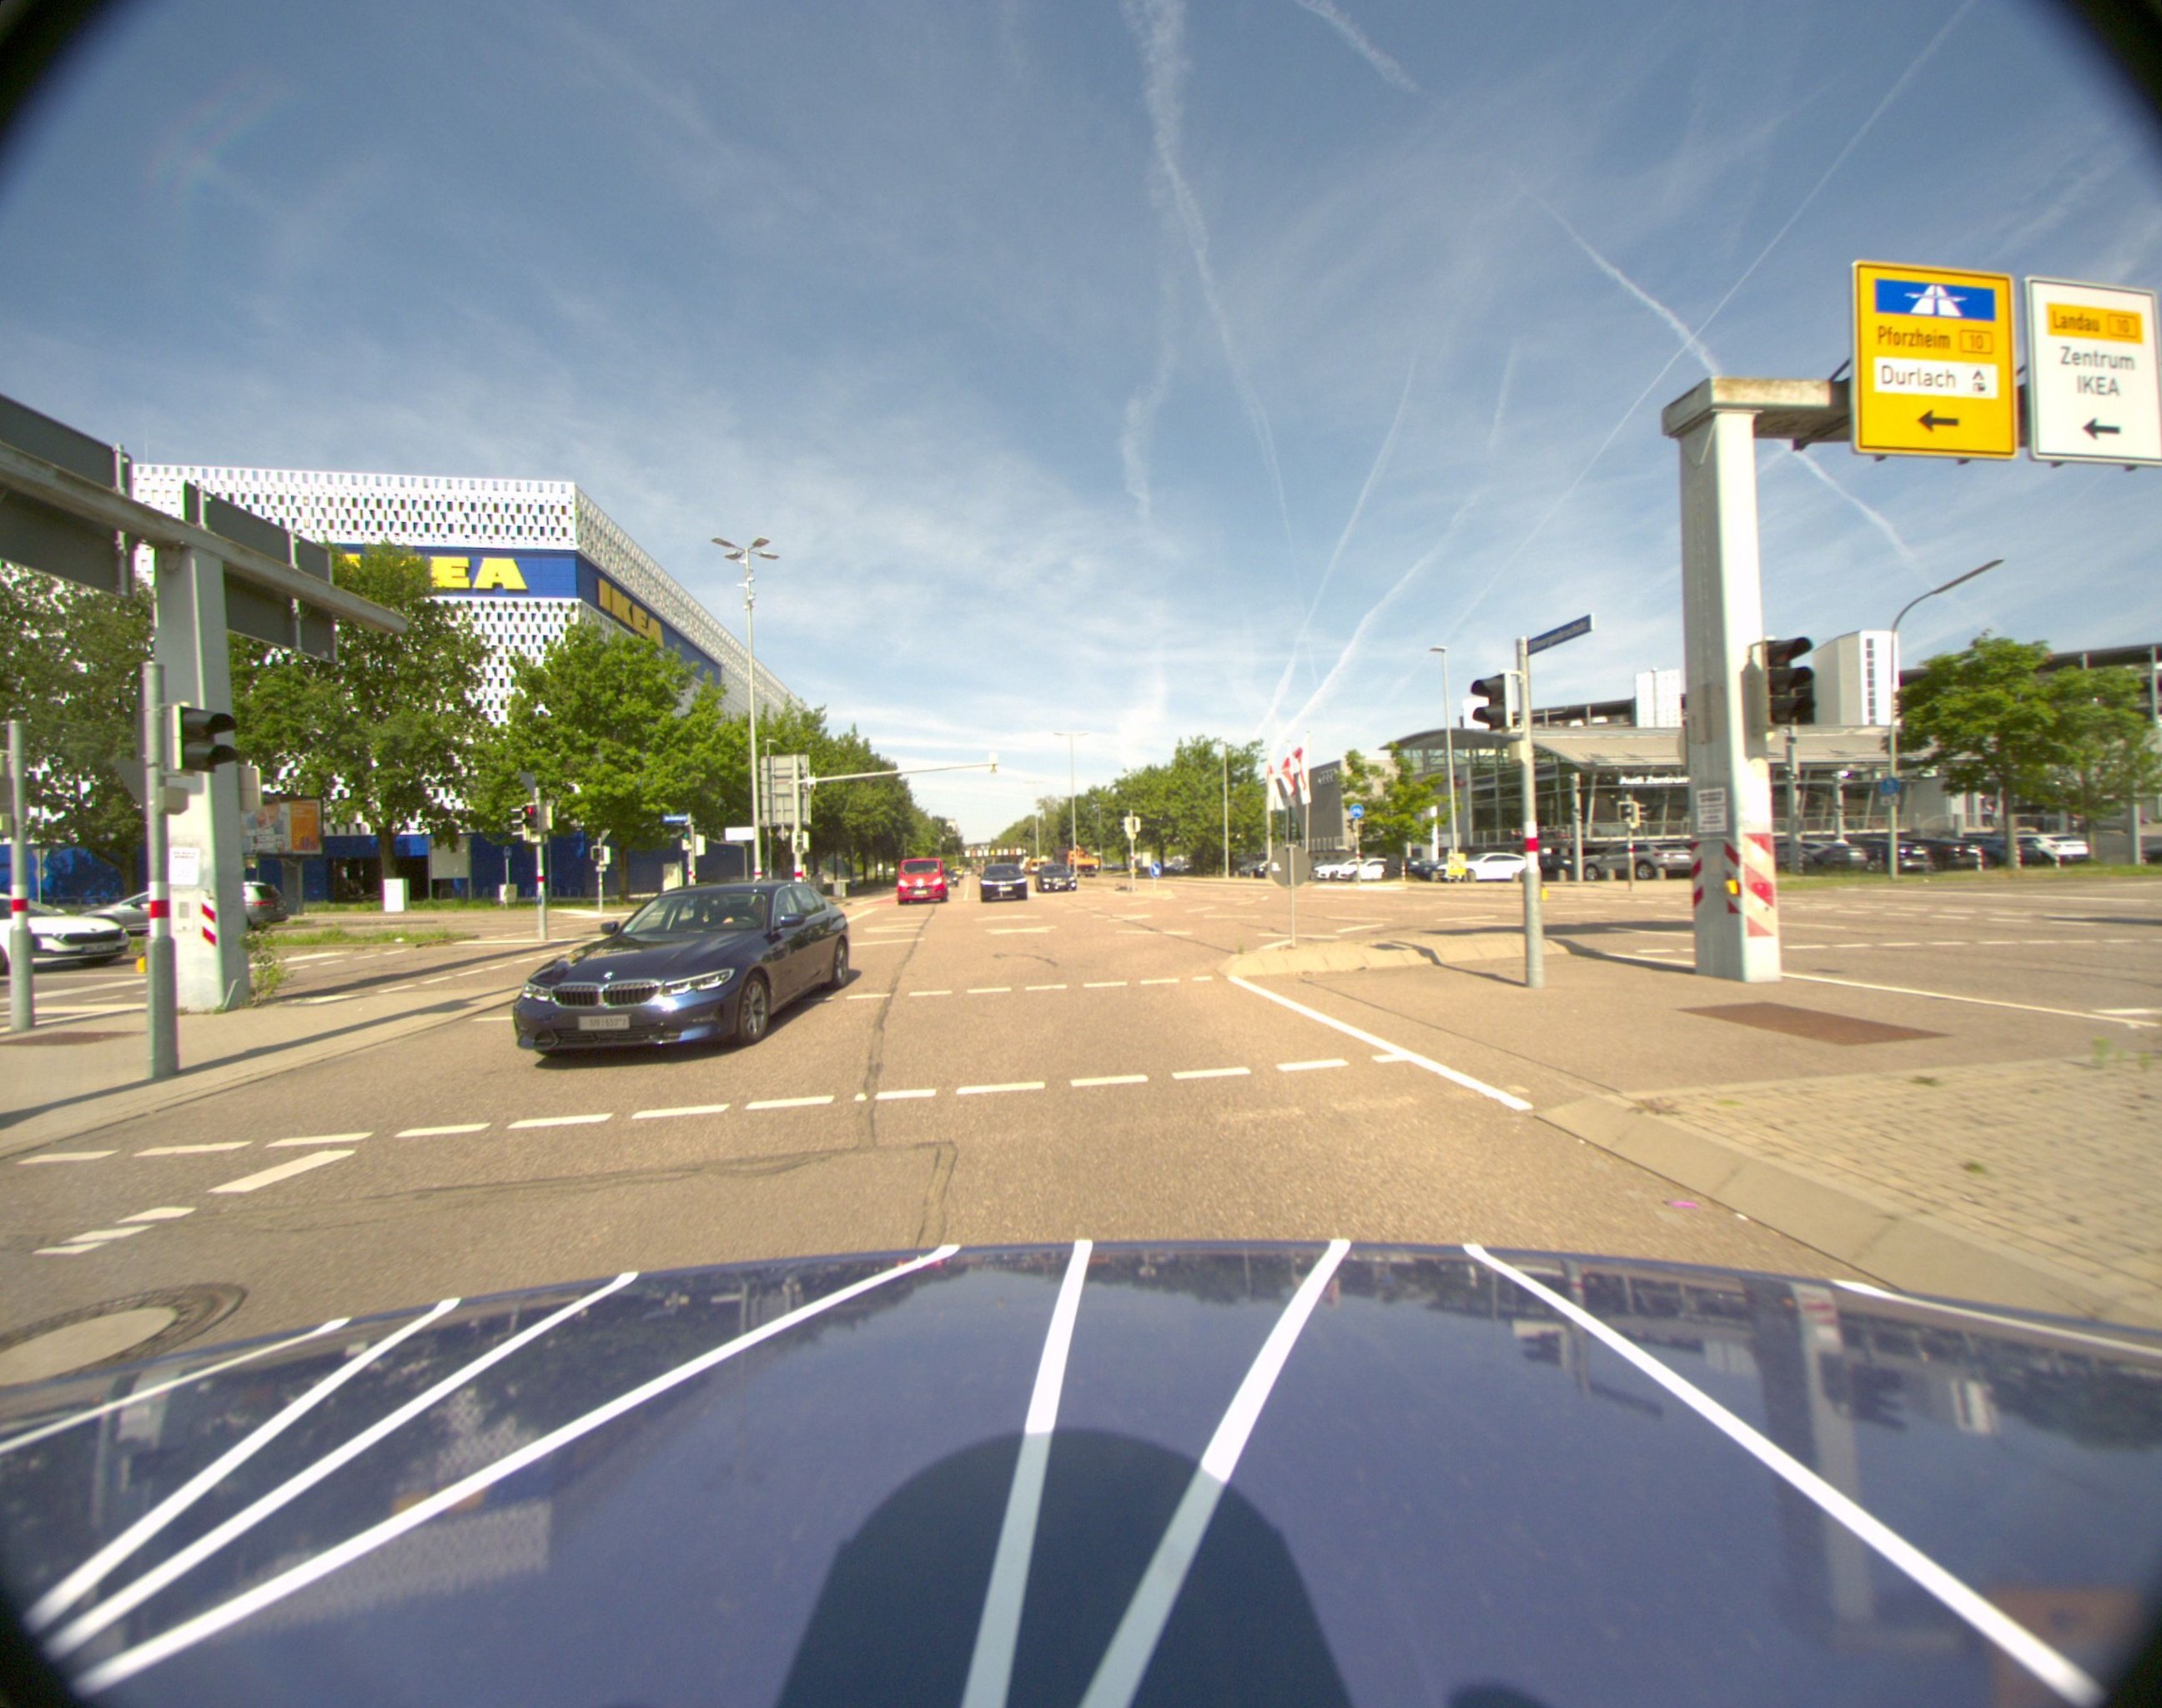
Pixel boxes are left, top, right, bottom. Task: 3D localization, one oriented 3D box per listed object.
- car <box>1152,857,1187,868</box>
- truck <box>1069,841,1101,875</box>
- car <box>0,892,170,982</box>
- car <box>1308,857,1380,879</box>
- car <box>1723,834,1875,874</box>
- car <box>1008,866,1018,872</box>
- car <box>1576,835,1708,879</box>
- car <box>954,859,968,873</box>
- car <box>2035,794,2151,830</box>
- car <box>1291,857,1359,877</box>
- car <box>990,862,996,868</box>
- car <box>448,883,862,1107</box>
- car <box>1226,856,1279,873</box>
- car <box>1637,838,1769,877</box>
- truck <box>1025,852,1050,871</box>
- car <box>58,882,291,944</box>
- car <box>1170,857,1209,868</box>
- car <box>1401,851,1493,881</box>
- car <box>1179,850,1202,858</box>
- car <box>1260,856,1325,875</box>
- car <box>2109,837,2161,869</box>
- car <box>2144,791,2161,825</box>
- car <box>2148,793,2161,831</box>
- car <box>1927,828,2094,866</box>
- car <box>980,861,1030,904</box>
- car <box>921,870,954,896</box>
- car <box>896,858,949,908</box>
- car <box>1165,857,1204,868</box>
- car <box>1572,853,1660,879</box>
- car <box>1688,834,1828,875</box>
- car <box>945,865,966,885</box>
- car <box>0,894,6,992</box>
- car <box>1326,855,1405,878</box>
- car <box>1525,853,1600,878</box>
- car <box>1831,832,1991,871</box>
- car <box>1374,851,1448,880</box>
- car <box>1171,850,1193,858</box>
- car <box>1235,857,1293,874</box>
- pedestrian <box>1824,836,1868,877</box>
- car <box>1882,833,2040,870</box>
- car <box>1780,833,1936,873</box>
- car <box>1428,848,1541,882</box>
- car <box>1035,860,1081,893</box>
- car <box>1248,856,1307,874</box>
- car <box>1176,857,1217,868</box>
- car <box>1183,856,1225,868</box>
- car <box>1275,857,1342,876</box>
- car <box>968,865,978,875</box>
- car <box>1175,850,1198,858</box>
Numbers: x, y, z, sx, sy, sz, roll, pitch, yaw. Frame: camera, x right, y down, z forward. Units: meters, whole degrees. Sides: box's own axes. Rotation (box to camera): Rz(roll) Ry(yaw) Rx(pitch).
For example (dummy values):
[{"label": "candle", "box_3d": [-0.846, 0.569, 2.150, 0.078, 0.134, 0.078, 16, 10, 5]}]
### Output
[{"label": "car", "box_3d": [11.283, 1.086, 97.340, 4.199, 1.248, 1.689, 1, -1, -7]}, {"label": "truck", "box_3d": [0.414, 0.432, 87.693, 2.755, 3.658, 7.575, -2, 0, -6]}, {"label": "car", "box_3d": [-20.551, 1.551, 14.037, 4.730, 1.417, 1.958, -2, 1, -4]}, {"label": "car", "box_3d": [16.889, 0.908, 48.866, 4.000, 1.311, 1.867, 1, -1, -8]}, {"label": "car", "box_3d": [31.731, 0.062, 33.805, 1.793, 1.496, 4.776, -2, -3, -8]}, {"label": "car", "box_3d": [-15.312, 3.363, 170.418, 1.853, 1.451, 4.660, 0, -1, -9]}, {"label": "car", "box_3d": [23.782, 0.182, 32.474, 1.819, 1.603, 4.595, -2, -3, -7]}, {"label": "car", "box_3d": [-18.944, 1.902, 120.092, 2.000, 2.002, 3.997, -5, 1, -8]}, {"label": "car", "box_3d": [64.717, -2.632, 48.689, 1.853, 2.002, 4.067, -2, 0, -9]}, {"label": "car", "box_3d": [16.477, 0.899, 51.403, 3.999, 1.311, 1.837, 1, -1, -7]}, {"label": "car", "box_3d": [-27.418, 3.427, 236.467, 1.867, 1.503, 3.998, -2, -1, -6]}, {"label": "car", "box_3d": [-3.830, 1.133, 7.947, 1.800, 1.420, 4.537, -3, 0, -2]}, {"label": "car", "box_3d": [14.723, 0.941, 65.248, 4.038, 1.393, 1.808, 1, -1, -9]}, {"label": "car", "box_3d": [26.481, 0.188, 32.553, 1.793, 1.433, 4.199, -2, -3, -9]}, {"label": "truck", "box_3d": [-6.731, 1.197, 117.483, 2.384, 2.609, 6.665, -3, 0, -15]}, {"label": "car", "box_3d": [-29.188, 1.843, 24.720, 4.397, 1.645, 1.995, -2, 0, -31]}, {"label": "car", "box_3d": [12.388, 0.960, 86.852, 4.199, 1.198, 1.689, 1, -1, -7]}, {"label": "car", "box_3d": [18.444, 0.601, 38.362, 3.847, 1.394, 1.762, -2, 0, -10]}, {"label": "car", "box_3d": [21.079, -0.066, 146.172, 4.199, 1.490, 1.689, 1, 0, -7]}, {"label": "car", "box_3d": [15.911, 0.883, 57.211, 4.295, 1.346, 1.828, 1, -1, -9]}, {"label": "car", "box_3d": [50.909, -0.070, 34.945, 4.019, 1.433, 1.800, -2, 0, 18]}, {"label": "car", "box_3d": [74.846, -3.151, 50.975, 4.690, 2.265, 2.158, -2, 0, -8]}, {"label": "car", "box_3d": [56.415, -2.162, 37.762, 4.547, 1.898, 2.085, -3, 4, -10]}, {"label": "car", "box_3d": [42.587, -0.270, 34.998, 1.793, 1.433, 4.557, -2, -2, -8]}, {"label": "car", "box_3d": [-3.182, 1.116, 31.414, 1.848, 1.530, 3.998, -4, 0, -7]}, {"label": "car", "box_3d": [-8.728, 1.740, 46.351, 1.693, 1.414, 3.913, -3, 0, -8]}, {"label": "car", "box_3d": [-6.876, 1.196, 33.432, 2.015, 1.896, 4.806, -4, 0, -10]}, {"label": "car", "box_3d": [12.132, 0.957, 89.365, 4.199, 1.247, 1.689, 1, -1, -7]}, {"label": "car", "box_3d": [30.491, 0.647, 43.461, 1.793, 1.370, 4.062, -2, 0, -8]}, {"label": "car", "box_3d": [29.264, 0.073, 33.048, 1.793, 1.534, 4.375, -2, -3, -8]}, {"label": "car", "box_3d": [-11.188, 1.853, 67.890, 1.650, 1.530, 3.997, -5, 0, -9]}, {"label": "car", "box_3d": [-19.089, 1.478, 11.112, 3.895, 1.549, 1.808, -2, 0, -3]}, {"label": "car", "box_3d": [17.311, 0.771, 46.274, 4.085, 1.362, 1.877, 1, -1, -8]}, {"label": "car", "box_3d": [27.568, 0.659, 43.615, 1.610, 1.298, 3.680, -2, 0, -8]}, {"label": "car", "box_3d": [37.180, -0.070, 34.247, 1.793, 1.433, 4.631, -2, -3, -8]}, {"label": "car", "box_3d": [18.463, 0.621, 42.747, 1.803, 1.487, 4.422, -2, 0, -8]}, {"label": "car", "box_3d": [20.095, 0.063, 151.212, 4.199, 1.490, 1.689, 1, 0, -7]}, {"label": "car", "box_3d": [15.036, 0.931, 62.550, 4.229, 1.386, 1.801, 1, -1, -8]}, {"label": "pedestrian", "box_3d": [33.462, 0.099, 33.255, 0.917, 1.739, 1.003, -1, 0, -7]}, {"label": "car", "box_3d": [39.894, -0.077, 34.635, 1.793, 1.433, 4.400, -2, -2, -8]}, {"label": "car", "box_3d": [34.580, -0.002, 34.019, 1.784, 1.507, 4.673, -2, -3, -8]}, {"label": "car", "box_3d": [19.030, 0.503, 35.929, 4.386, 1.423, 1.899, -2, 0, -6]}, {"label": "car", "box_3d": [-1.299, 1.147, 40.349, 1.883, 1.513, 4.866, -4, 0, -8]}, {"label": "car", "box_3d": [15.478, 0.887, 59.880, 4.124, 1.346, 1.834, 1, -1, -9]}, {"label": "car", "box_3d": [12.844, 0.936, 84.439, 4.199, 1.188, 1.689, 1, -1, -7]}, {"label": "car", "box_3d": [13.290, 0.916, 81.982, 4.199, 1.239, 1.689, 1, -1, -7]}, {"label": "car", "box_3d": [16.254, 0.900, 54.256, 4.189, 1.327, 1.853, 1, -1, -8]}, {"label": "car", "box_3d": [-24.690, 3.568, 173.735, 2.000, 2.002, 3.997, -5, 1, -8]}, {"label": "car", "box_3d": [20.691, 0.019, 148.730, 4.199, 1.490, 1.689, 1, 0, -7]}]
